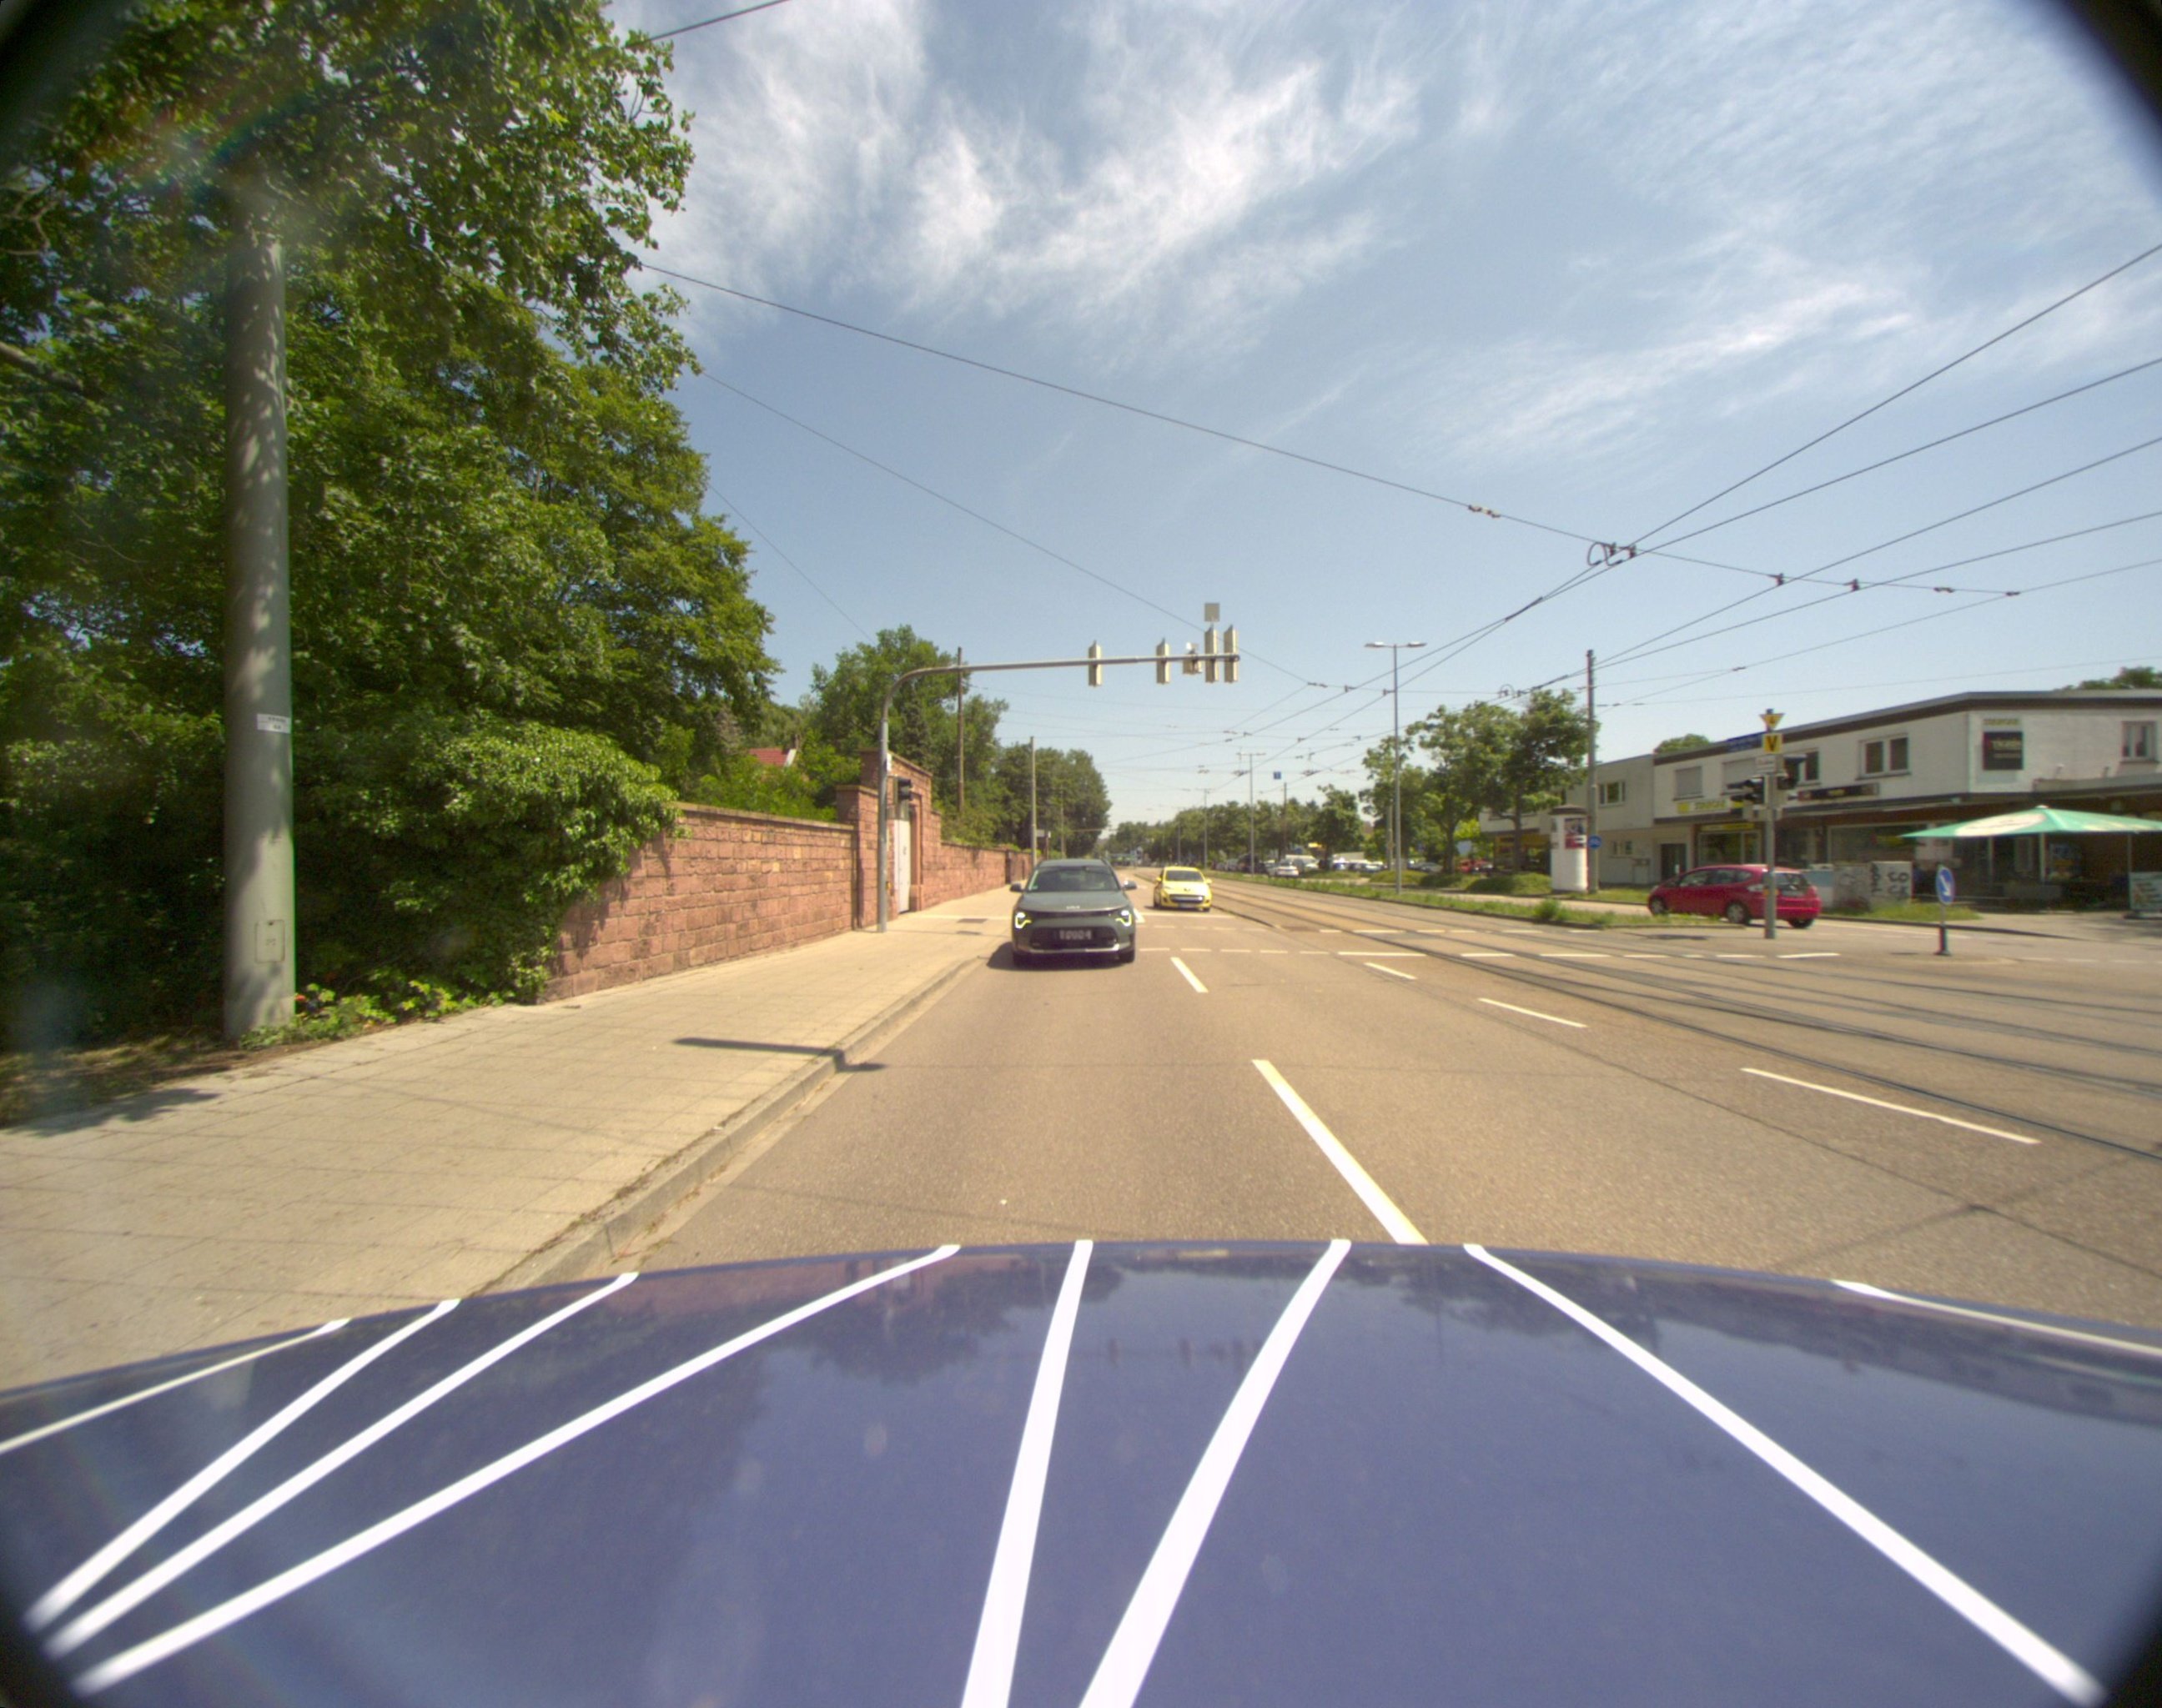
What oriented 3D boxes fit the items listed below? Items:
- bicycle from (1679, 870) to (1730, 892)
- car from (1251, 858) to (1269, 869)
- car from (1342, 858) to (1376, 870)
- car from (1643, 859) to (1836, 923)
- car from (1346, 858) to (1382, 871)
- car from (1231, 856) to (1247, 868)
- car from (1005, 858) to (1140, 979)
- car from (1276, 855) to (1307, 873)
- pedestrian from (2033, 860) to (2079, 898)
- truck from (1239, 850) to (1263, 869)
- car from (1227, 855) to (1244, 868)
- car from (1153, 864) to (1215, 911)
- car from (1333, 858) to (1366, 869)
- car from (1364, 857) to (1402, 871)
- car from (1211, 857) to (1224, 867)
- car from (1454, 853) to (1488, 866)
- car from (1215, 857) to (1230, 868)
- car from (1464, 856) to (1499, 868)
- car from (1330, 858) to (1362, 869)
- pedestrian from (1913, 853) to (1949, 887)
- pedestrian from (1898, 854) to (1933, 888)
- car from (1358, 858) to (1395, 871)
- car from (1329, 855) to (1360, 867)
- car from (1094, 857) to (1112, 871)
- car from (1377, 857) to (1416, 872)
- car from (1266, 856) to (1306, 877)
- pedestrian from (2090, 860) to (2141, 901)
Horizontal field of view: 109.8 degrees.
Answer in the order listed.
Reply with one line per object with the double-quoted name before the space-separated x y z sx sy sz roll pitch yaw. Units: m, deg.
"bicycle" 27.038 1.170 32.995 0.603 0.843 1.959 -3 0 2
"car" 22.576 1.198 95.878 1.674 1.378 3.670 0 0 4
"car" 32.549 1.153 89.094 3.414 1.385 1.603 0 0 -3
"car" 16.869 0.886 19.741 1.628 1.475 3.828 0 0 -1
"car" 32.043 1.157 86.008 3.414 1.385 1.603 0 0 -3
"car" 22.985 1.162 110.536 1.681 1.783 3.869 0 0 1
"car" -0.041 0.902 12.521 1.789 1.561 4.184 -3 0 2
"car" 21.935 1.026 79.329 1.998 1.872 4.662 0 0 2
"pedestrian" 29.333 0.732 22.862 0.518 1.121 0.674 0 0 2
"truck" 22.764 0.740 101.971 2.225 2.526 4.930 0 0 2
"car" 23.439 1.190 115.598 1.681 1.963 4.510 0 0 1
"car" 3.402 1.067 25.580 1.620 1.412 3.656 2 0 1
"car" 32.355 1.139 91.481 3.414 1.385 1.603 0 0 -3
"car" 32.250 1.091 81.144 3.414 1.482 1.598 0 0 -3
"car" 23.840 1.338 132.714 1.681 1.693 3.824 0 0 1
"car" 46.695 0.674 90.951 3.355 1.552 1.506 0 0 -1
"car" 23.491 1.381 126.226 1.681 1.783 4.203 0 0 1
"car" 46.338 0.913 87.964 3.355 1.449 1.506 0 0 -1
"car" 32.954 1.139 94.363 3.414 1.385 1.603 0 0 -3
"pedestrian" 30.347 0.563 27.134 0.518 1.202 0.674 0 0 2
"pedestrian" 29.752 0.610 27.100 0.518 1.192 0.674 0 0 2
"car" 32.554 1.177 83.734 3.414 1.385 1.603 0 0 -3
"car" 33.607 0.908 96.886 3.414 1.497 1.603 0 0 -3
"car" 2.794 1.213 94.565 1.998 1.652 4.002 0 0 6
"car" 32.889 1.067 79.253 3.414 1.482 1.793 0 0 -3
"car" 16.706 0.992 62.145 1.999 1.543 4.138 2 0 -2
"pedestrian" 29.265 0.739 21.508 0.518 1.121 0.674 0 0 2
